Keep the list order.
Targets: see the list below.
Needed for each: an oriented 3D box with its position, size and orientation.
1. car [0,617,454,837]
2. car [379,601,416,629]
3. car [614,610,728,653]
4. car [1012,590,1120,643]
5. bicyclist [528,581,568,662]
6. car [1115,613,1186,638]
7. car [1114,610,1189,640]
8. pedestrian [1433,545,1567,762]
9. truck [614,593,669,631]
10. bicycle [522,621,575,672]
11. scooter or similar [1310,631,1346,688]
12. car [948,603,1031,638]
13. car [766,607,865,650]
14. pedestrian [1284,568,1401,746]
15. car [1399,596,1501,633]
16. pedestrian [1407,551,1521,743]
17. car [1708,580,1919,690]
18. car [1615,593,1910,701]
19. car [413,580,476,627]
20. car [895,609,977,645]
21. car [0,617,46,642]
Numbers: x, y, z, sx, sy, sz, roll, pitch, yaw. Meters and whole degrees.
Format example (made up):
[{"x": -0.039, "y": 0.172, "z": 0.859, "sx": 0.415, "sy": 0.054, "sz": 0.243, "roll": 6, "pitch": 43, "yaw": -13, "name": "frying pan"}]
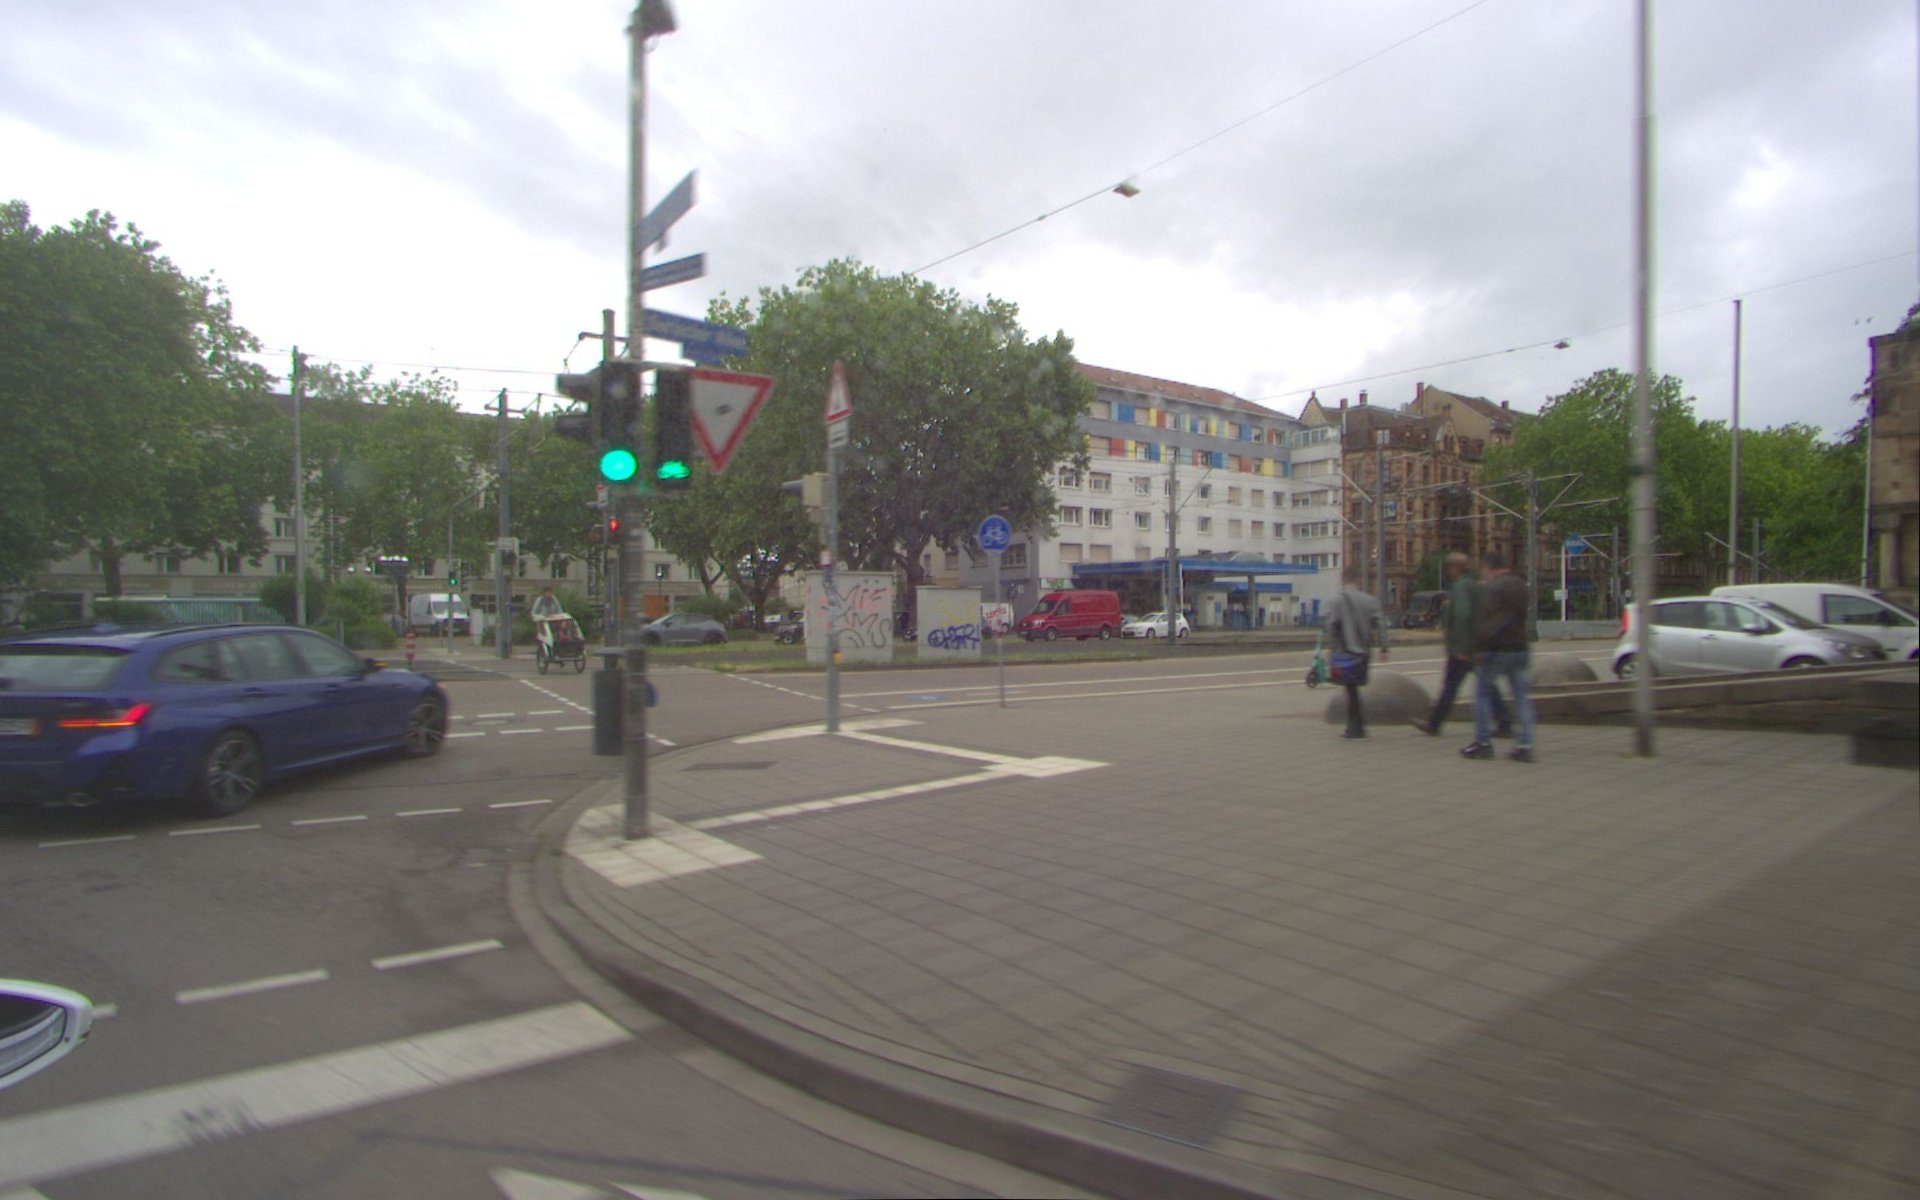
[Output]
[{"x": -6.451, "y": 0.889, "z": 8.853, "sx": 1.786, "sy": 1.424, "sz": 4.320, "roll": 0, "pitch": 0, "yaw": 0, "name": "car"}, {"x": -32.358, "y": 0.870, "z": 57.550, "sx": 1.647, "sy": 1.535, "sz": 3.914, "roll": 0, "pitch": 0, "yaw": -32, "name": "car"}, {"x": -11.248, "y": 1.185, "z": 39.091, "sx": 3.940, "sy": 1.582, "sz": 1.675, "roll": 0, "pitch": -1, "yaw": -36, "name": "car"}, {"x": 5.413, "y": 0.800, "z": 50.702, "sx": 5.541, "sy": 2.572, "sz": 1.978, "roll": 0, "pitch": 0, "yaw": -36, "name": "car"}, {"x": -8.714, "y": 0.446, "z": 21.156, "sx": 0.608, "sy": 1.676, "sz": 0.748, "roll": 0, "pitch": 0, "yaw": -38, "name": "bicyclist"}, {"x": 11.056, "y": 1.483, "z": 58.366, "sx": 1.713, "sy": 1.390, "sz": 4.070, "roll": 0, "pitch": -1, "yaw": -35, "name": "car"}, {"x": 10.493, "y": 1.337, "z": 54.729, "sx": 4.098, "sy": 1.550, "sz": 1.675, "roll": 0, "pitch": -1, "yaw": -36, "name": "car"}, {"x": 4.528, "y": 0.420, "z": 8.408, "sx": 0.955, "sy": 1.709, "sz": 0.673, "roll": 0, "pitch": 2, "yaw": 31, "name": "pedestrian"}, {"x": -22.875, "y": 0.874, "z": 71.958, "sx": 2.363, "sy": 2.625, "sz": 3.963, "roll": 0, "pitch": 0, "yaw": -42, "name": "truck"}, {"x": -8.700, "y": 0.955, "z": 21.132, "sx": 0.546, "sy": 1.009, "sz": 2.046, "roll": 0, "pitch": 0, "yaw": -36, "name": "bicycle"}, {"x": 7.084, "y": 1.132, "z": 19.260, "sx": 0.763, "sy": 1.067, "sz": 0.238, "roll": 0, "pitch": 0, "yaw": -34, "name": "scooter or similar"}, {"x": 1.863, "y": 1.237, "z": 62.486, "sx": 5.024, "sy": 2.123, "sz": 1.978, "roll": 0, "pitch": 0, "yaw": -36, "name": "car"}, {"x": -6.152, "y": 1.195, "z": 42.816, "sx": 3.900, "sy": 1.734, "sz": 1.675, "roll": 0, "pitch": 0, "yaw": -36, "name": "car"}, {"x": 3.849, "y": 0.536, "z": 10.066, "sx": 0.957, "sy": 1.696, "sz": 0.630, "roll": 0, "pitch": 3, "yaw": 38, "name": "pedestrian"}, {"x": 37.835, "y": 1.124, "z": 77.364, "sx": 6.971, "sy": 2.764, "sz": 2.247, "roll": 0, "pitch": -1, "yaw": -7, "name": "car"}, {"x": 4.971, "y": 0.425, "z": 9.863, "sx": 0.955, "sy": 1.783, "sz": 0.802, "roll": 0, "pitch": 2, "yaw": 31, "name": "pedestrian"}, {"x": 15.851, "y": 0.595, "z": 18.054, "sx": 1.664, "sy": 1.816, "sz": 3.447, "roll": 0, "pitch": -1, "yaw": -33, "name": "car"}, {"x": 12.978, "y": 0.709, "z": 16.375, "sx": 1.596, "sy": 1.550, "sz": 3.447, "roll": 0, "pitch": -1, "yaw": -33, "name": "car"}, {"x": -30.879, "y": 0.241, "z": 59.948, "sx": 2.218, "sy": 2.674, "sz": 5.400, "roll": 0, "pitch": 0, "yaw": -40, "name": "car"}, {"x": -1.090, "y": 1.207, "z": 45.970, "sx": 3.424, "sy": 1.582, "sz": 1.675, "roll": 0, "pitch": 0, "yaw": -36, "name": "car"}, {"x": -58.388, "y": 1.802, "z": 62.193, "sx": 1.778, "sy": 1.459, "sz": 3.803, "roll": 0, "pitch": -1, "yaw": -33, "name": "car"}]
